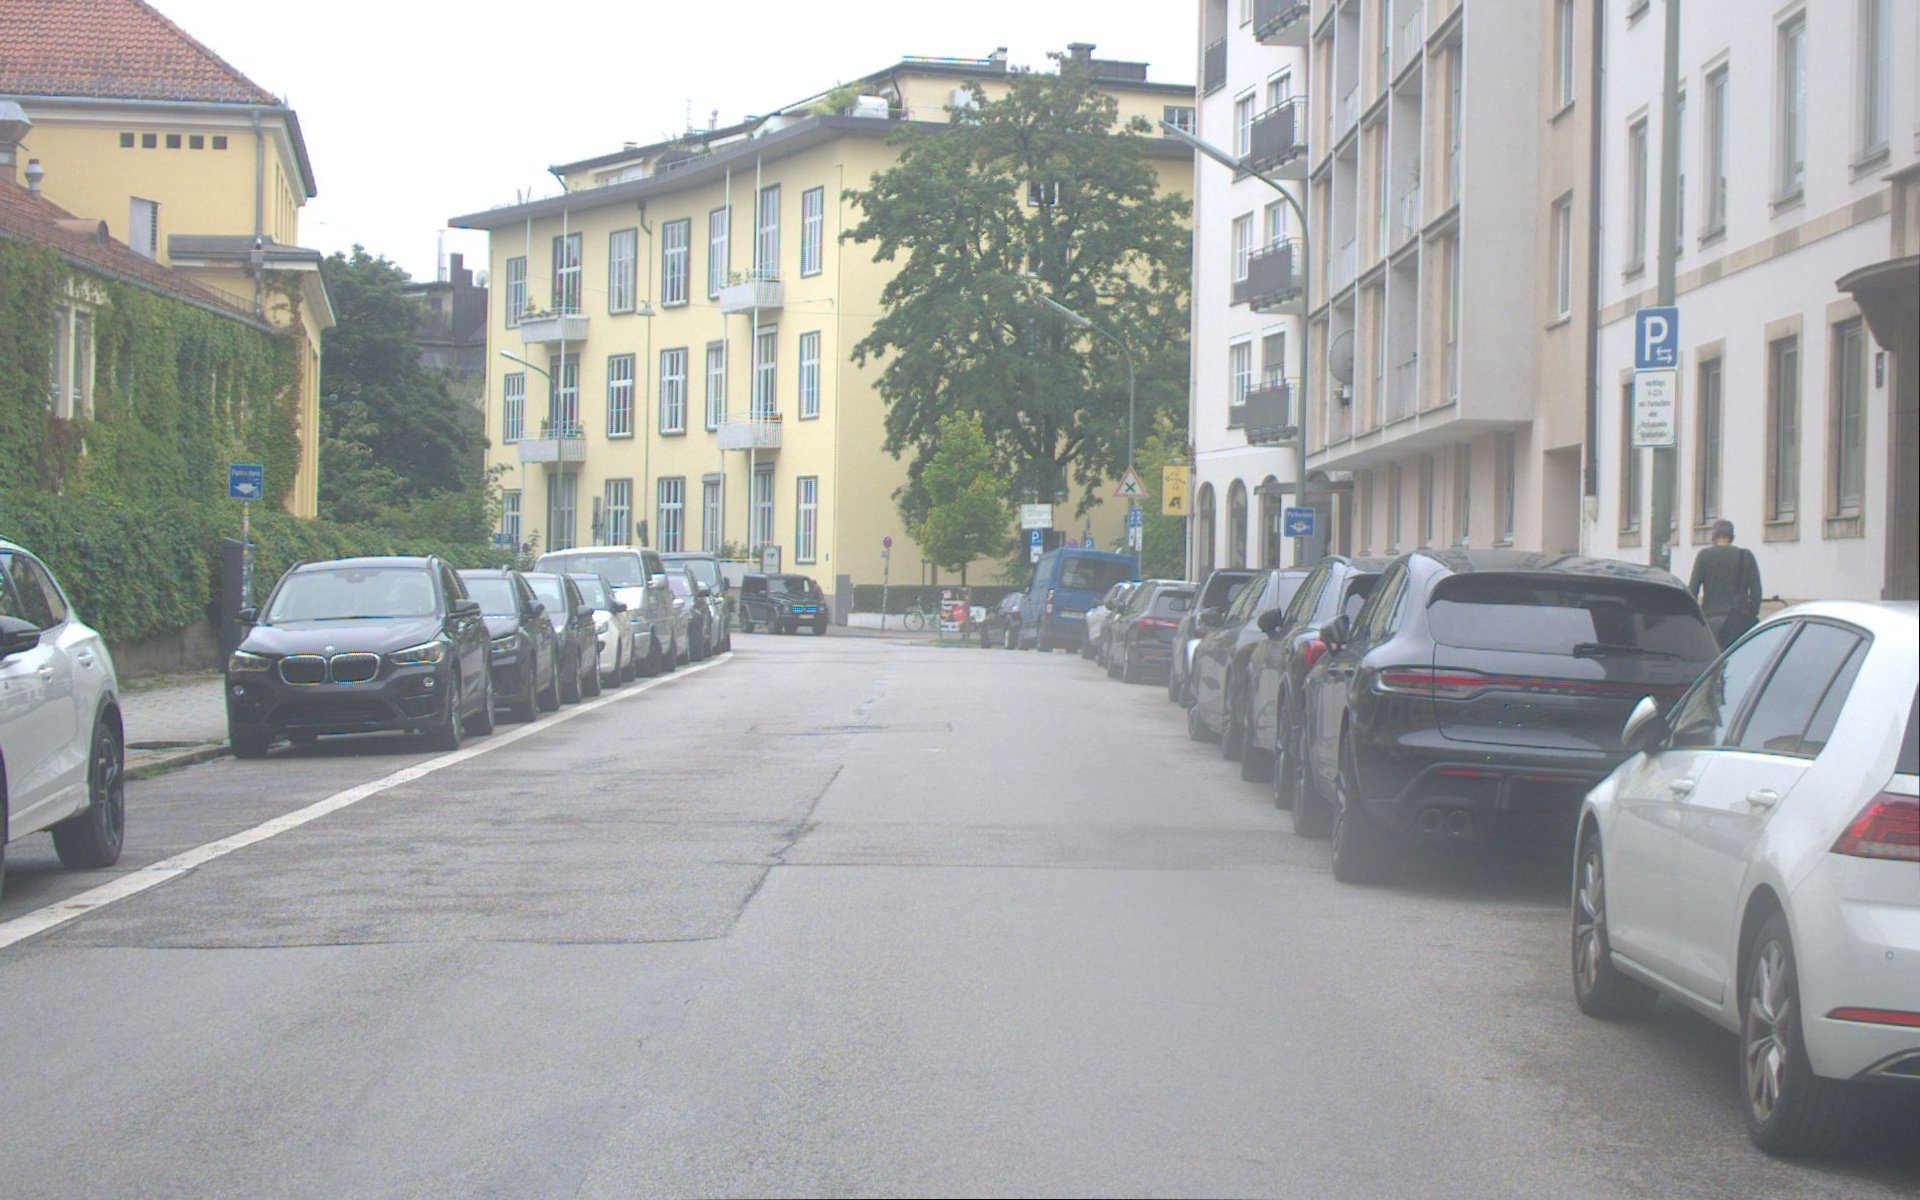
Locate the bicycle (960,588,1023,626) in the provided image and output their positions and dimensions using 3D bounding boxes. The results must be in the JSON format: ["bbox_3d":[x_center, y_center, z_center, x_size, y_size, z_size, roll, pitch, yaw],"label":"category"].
[{"bbox_3d":[1.031,0.235,112.088,1.923,1.197,0.595,1,0,14],"label":"bicycle"}]

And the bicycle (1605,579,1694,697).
[{"bbox_3d":[7.345,0.385,36.694,0.529,1.213,2.103,1,0,1],"label":"bicycle"}]

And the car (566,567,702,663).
[{"bbox_3d":[-5.202,0.215,55.401,1.653,1.409,4.771,-2,0,0],"label":"car"}]

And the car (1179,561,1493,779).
[{"bbox_3d":[2.907,0.486,27.680,1.802,1.479,5.320,4,0,-1],"label":"car"}]

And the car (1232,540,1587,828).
[{"bbox_3d":[2.811,0.476,22.426,1.645,1.584,4.634,4,0,0],"label":"car"}]

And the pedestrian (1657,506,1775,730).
[{"bbox_3d":[6.058,0.151,27.581,0.723,1.757,0.904,1,-1,1],"label":"pedestrian"}]

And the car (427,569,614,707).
[{"bbox_3d":[-4.948,0.398,39.145,1.603,1.425,4.252,-2,0,-1],"label":"car"}]

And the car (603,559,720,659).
[{"bbox_3d":[-5.186,0.137,60.161,1.697,1.637,4.490,-2,0,-1],"label":"car"}]

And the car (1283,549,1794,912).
[{"bbox_3d":[2.751,0.555,17.403,1.840,1.517,4.709,2,0,1],"label":"car"}]

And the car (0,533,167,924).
[{"bbox_3d":[-4.936,0.531,15.587,1.745,1.628,4.857,-1,1,-3],"label":"car"}]

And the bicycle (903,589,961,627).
[{"bbox_3d":[-0.937,0.263,113.302,1.926,1.197,0.594,2,0,37],"label":"bicycle"}]

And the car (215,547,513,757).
[{"bbox_3d":[-4.959,0.386,29.213,1.789,1.581,4.819,-2,1,-2],"label":"car"}]

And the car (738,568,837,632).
[{"bbox_3d":[-5.669,-0.027,112.374,1.762,1.868,4.380,5,-1,-22],"label":"car"}]

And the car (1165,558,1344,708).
[{"bbox_3d":[3.216,0.343,37.983,1.650,1.490,2.881,4,0,0],"label":"car"}]

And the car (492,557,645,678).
[{"bbox_3d":[-5.013,0.203,44.399,1.591,1.436,4.019,-2,0,-2],"label":"car"}]

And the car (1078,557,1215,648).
[{"bbox_3d":[3.429,0.026,64.086,1.785,1.528,4.649,4,0,-5],"label":"car"}]

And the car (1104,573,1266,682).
[{"bbox_3d":[3.132,0.354,48.780,1.745,1.383,4.954,3,0,-2],"label":"car"}]

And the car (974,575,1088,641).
[{"bbox_3d":[1.666,0.174,81.931,1.676,1.384,4.307,5,-1,-12],"label":"car"}]

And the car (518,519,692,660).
[{"bbox_3d":[-5.079,-0.152,49.790,1.887,1.883,4.774,-2,0,1],"label":"car"}]

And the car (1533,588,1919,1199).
[{"bbox_3d":[2.938,0.722,10.242,1.672,1.424,4.530,2,0,0],"label":"car"}]

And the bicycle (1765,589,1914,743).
[{"bbox_3d":[7.326,0.529,28.712,0.512,1.218,1.989,1,1,-7],"label":"bicycle"}]

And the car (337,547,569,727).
[{"bbox_3d":[-4.947,0.326,34.070,1.724,1.624,4.466,-2,0,-2],"label":"car"}]

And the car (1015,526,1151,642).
[{"bbox_3d":[2.658,-0.314,75.779,2.078,2.226,5.245,5,-2,-6],"label":"car"}]

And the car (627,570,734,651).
[{"bbox_3d":[-5.290,0.177,65.468,1.694,1.388,4.501,-3,1,-1],"label":"car"}]
